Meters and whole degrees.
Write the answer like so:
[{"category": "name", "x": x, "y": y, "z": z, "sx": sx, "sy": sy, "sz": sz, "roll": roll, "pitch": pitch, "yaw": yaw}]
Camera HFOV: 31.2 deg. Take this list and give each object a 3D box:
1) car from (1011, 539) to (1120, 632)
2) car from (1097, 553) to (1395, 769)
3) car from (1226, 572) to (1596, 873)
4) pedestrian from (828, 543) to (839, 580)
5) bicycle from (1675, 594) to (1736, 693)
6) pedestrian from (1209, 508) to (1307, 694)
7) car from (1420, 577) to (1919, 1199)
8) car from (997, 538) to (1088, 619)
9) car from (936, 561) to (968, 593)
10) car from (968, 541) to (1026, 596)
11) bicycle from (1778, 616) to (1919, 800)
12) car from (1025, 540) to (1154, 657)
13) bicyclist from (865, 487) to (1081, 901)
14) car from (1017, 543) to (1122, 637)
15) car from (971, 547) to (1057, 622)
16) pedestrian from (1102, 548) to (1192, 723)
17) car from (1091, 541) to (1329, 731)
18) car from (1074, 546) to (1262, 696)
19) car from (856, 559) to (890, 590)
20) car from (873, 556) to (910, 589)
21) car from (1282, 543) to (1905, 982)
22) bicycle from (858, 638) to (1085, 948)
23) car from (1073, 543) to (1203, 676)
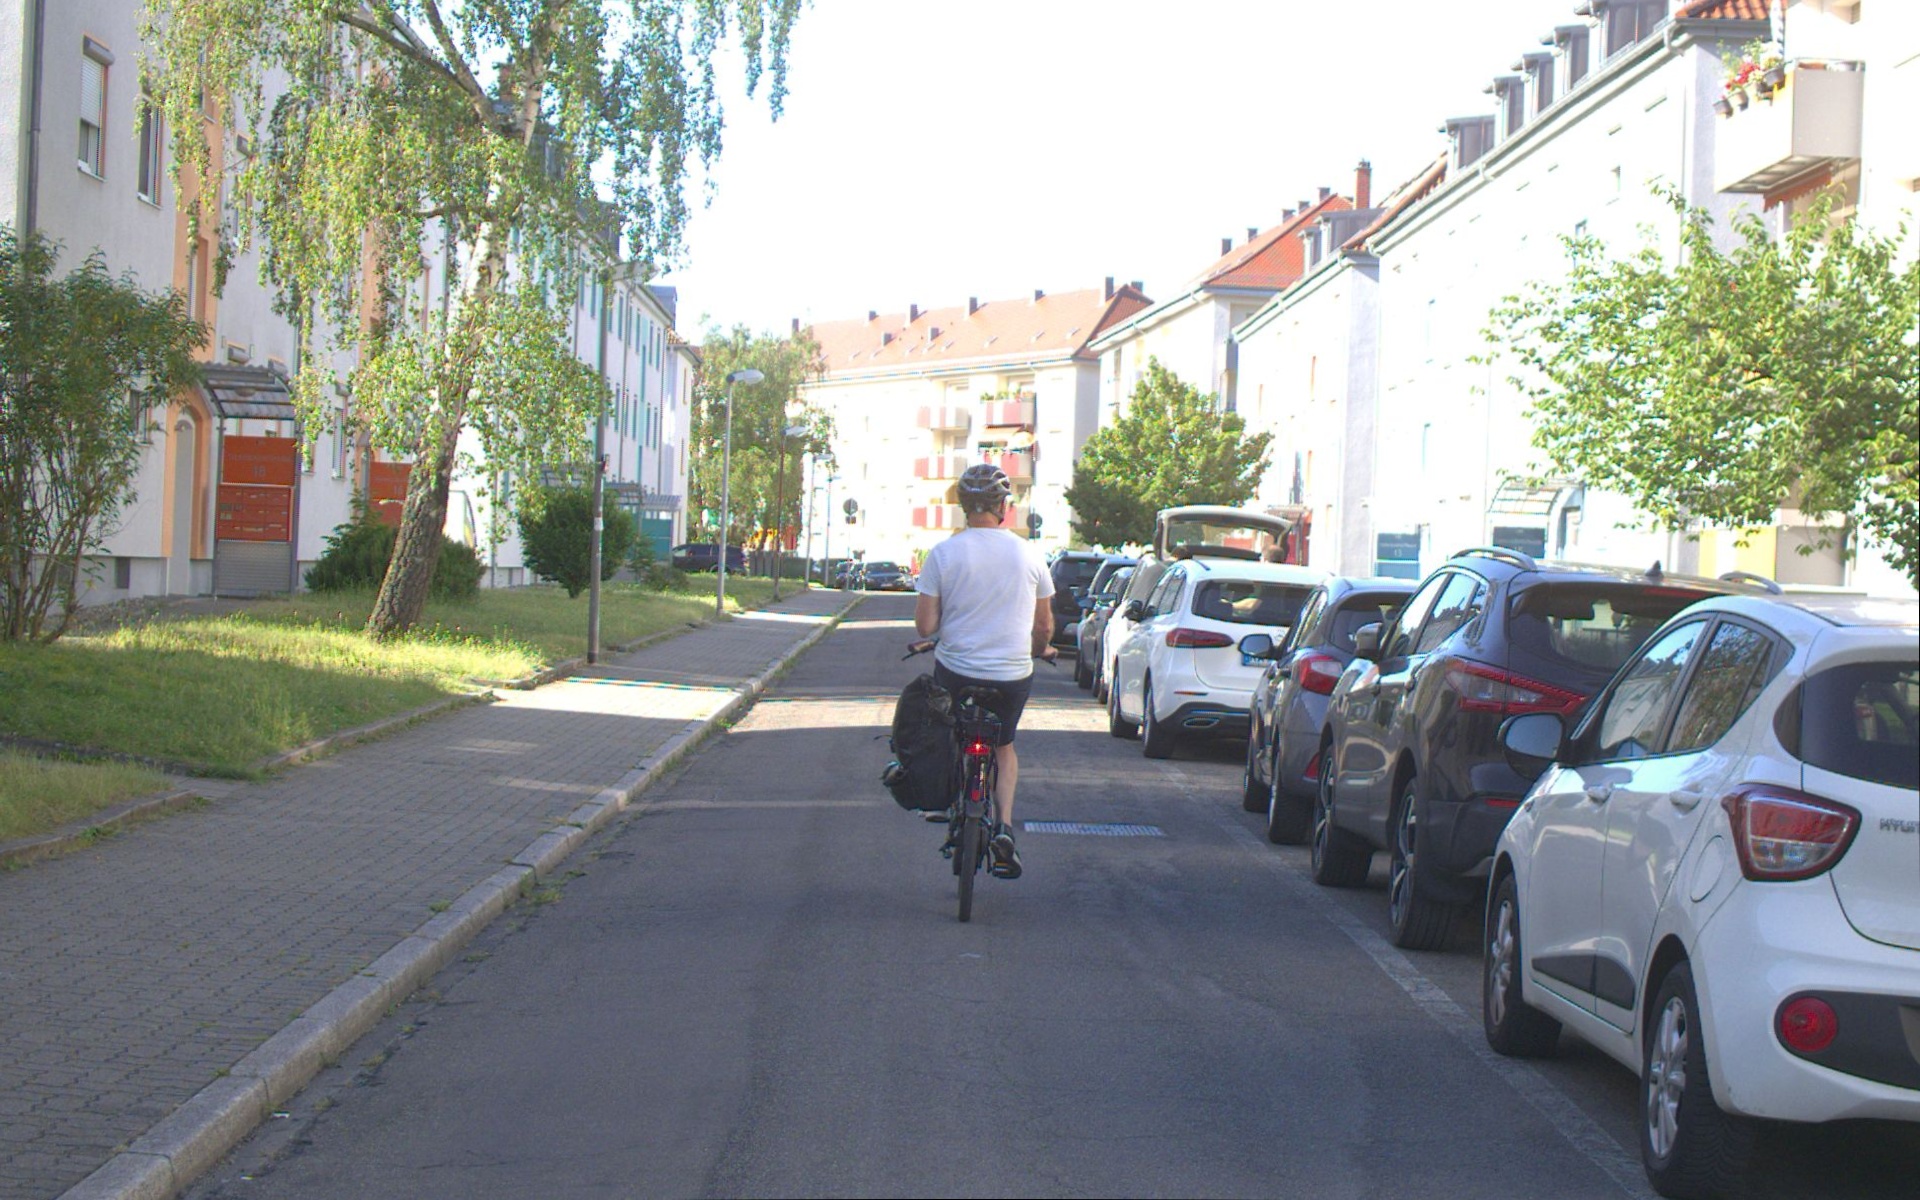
[{"category": "car", "x": 1.944, "y": -0.296, "z": 64.319, "sx": 1.690, "sy": 1.569, "sz": 4.435, "roll": 3, "pitch": 1, "yaw": -2}, {"category": "car", "x": 2.212, "y": 0.424, "z": 27.723, "sx": 1.772, "sy": 1.499, "sz": 4.481, "roll": 3, "pitch": 1, "yaw": -3}, {"category": "car", "x": 2.503, "y": 0.623, "z": 19.946, "sx": 1.647, "sy": 1.444, "sz": 4.060, "roll": 4, "pitch": 1, "yaw": 2}, {"category": "pedestrian", "x": -5.388, "y": -1.637, "z": 146.667, "sx": 0.434, "sy": 1.569, "sz": 0.543, "roll": 1, "pitch": 1, "yaw": -1}, {"category": "bicycle", "x": 8.496, "y": 0.488, "z": 39.194, "sx": 0.403, "sy": 1.083, "sz": 1.299, "roll": 1, "pitch": 1, "yaw": 0}, {"category": "pedestrian", "x": 2.729, "y": 0.000, "z": 31.550, "sx": 0.819, "sy": 1.681, "sz": 0.604, "roll": 1, "pitch": 1, "yaw": -1}, {"category": "car", "x": 2.505, "y": 0.775, "z": 9.590, "sx": 1.713, "sy": 1.504, "sz": 3.854, "roll": 5, "pitch": 1, "yaw": -2}, {"category": "car", "x": 1.788, "y": -0.502, "z": 75.577, "sx": 1.712, "sy": 1.590, "sz": 4.398, "roll": 5, "pitch": 1, "yaw": -1}, {"category": "car", "x": -0.404, "y": -1.125, "z": 166.875, "sx": 1.381, "sy": 1.492, "sz": 3.077, "roll": 1, "pitch": 1, "yaw": -3}, {"category": "car", "x": 1.252, "y": -1.085, "z": 117.501, "sx": 1.674, "sy": 1.733, "sz": 3.943, "roll": 3, "pitch": 1, "yaw": -3}, {"category": "bicycle", "x": 6.560, "y": 0.700, "z": 22.071, "sx": 2.424, "sy": 1.126, "sz": 0.879, "roll": 1, "pitch": 1, "yaw": 6}, {"category": "car", "x": 1.975, "y": -0.060, "z": 53.617, "sx": 1.783, "sy": 1.642, "sz": 4.469, "roll": 3, "pitch": 1, "yaw": 0}, {"category": "bicyclist", "x": 0.040, "y": 0.368, "z": 14.129, "sx": 0.808, "sy": 1.638, "sz": 0.899, "roll": 1, "pitch": 1, "yaw": -3}, {"category": "car", "x": 1.843, "y": -0.197, "z": 58.712, "sx": 1.641, "sy": 1.493, "sz": 4.156, "roll": 2, "pitch": 1, "yaw": 0}, {"category": "car", "x": 1.287, "y": -0.392, "z": 83.309, "sx": 1.862, "sy": 1.662, "sz": 4.127, "roll": 4, "pitch": 1, "yaw": -1}, {"category": "pedestrian", "x": 1.715, "y": 0.320, "z": 31.657, "sx": 0.739, "sy": 1.569, "sz": 0.880, "roll": 1, "pitch": 1, "yaw": -1}, {"category": "car", "x": 2.377, "y": 0.287, "z": 33.847, "sx": 1.993, "sy": 1.607, "sz": 4.995, "roll": 4, "pitch": 1, "yaw": 1}, {"category": "car", "x": 2.303, "y": 0.194, "z": 38.967, "sx": 1.693, "sy": 1.486, "sz": 3.985, "roll": 4, "pitch": 1, "yaw": -2}, {"category": "car", "x": -3.925, "y": -1.142, "z": 154.729, "sx": 1.469, "sy": 1.331, "sz": 3.141, "roll": 1, "pitch": 1, "yaw": -3}, {"category": "car", "x": -2.986, "y": -1.189, "z": 149.937, "sx": 1.469, "sy": 1.331, "sz": 3.141, "roll": 3, "pitch": 1, "yaw": -3}, {"category": "car", "x": 2.514, "y": 0.559, "z": 14.703, "sx": 1.723, "sy": 1.573, "sz": 4.353, "roll": 1, "pitch": 1, "yaw": -2}, {"category": "bicycle", "x": 0.015, "y": 0.757, "z": 14.308, "sx": 0.808, "sy": 1.124, "sz": 2.102, "roll": 1, "pitch": 1, "yaw": -3}, {"category": "car", "x": 2.255, "y": 0.094, "z": 43.441, "sx": 1.480, "sy": 1.524, "sz": 2.940, "roll": 4, "pitch": 1, "yaw": 3}]
